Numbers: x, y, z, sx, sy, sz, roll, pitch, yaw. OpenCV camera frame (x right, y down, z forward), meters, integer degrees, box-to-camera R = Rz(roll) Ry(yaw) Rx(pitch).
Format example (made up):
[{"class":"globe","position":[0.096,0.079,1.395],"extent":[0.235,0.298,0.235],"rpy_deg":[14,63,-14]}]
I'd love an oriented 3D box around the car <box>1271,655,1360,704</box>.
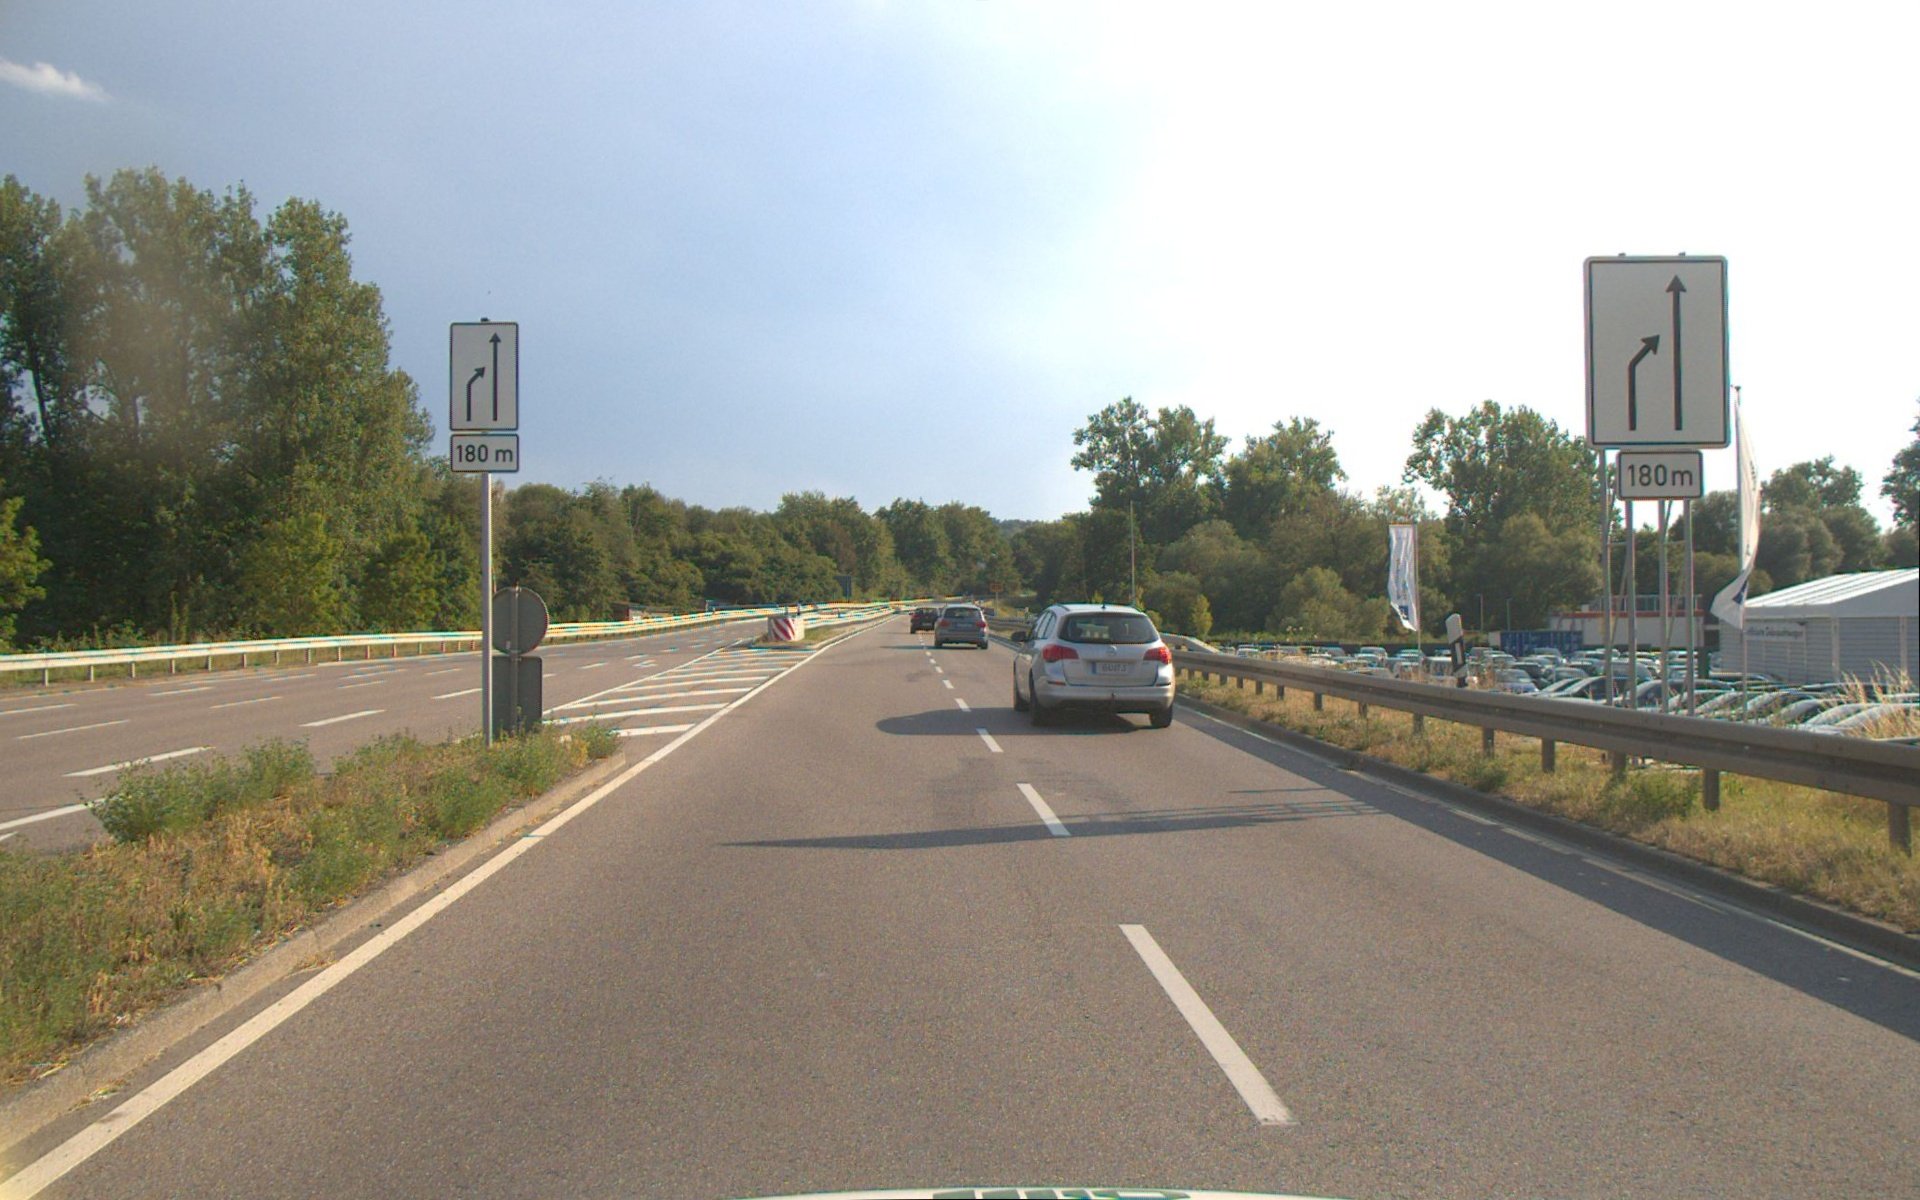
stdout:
[{"class":"car","position":[13.112,2.900,61.213],"extent":[1.843,1.654,4.723],"rpy_deg":[1,-1,-6]}]

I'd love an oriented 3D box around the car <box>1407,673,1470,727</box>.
[{"class":"car","position":[19.413,4.043,67.269],"extent":[1.839,1.965,4.733],"rpy_deg":[1,-1,9]}]

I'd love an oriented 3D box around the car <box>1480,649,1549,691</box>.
[{"class":"car","position":[22.310,2.807,66.729],"extent":[1.839,1.548,4.733],"rpy_deg":[1,-1,9]}]

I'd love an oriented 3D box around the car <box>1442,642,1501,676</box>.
[{"class":"car","position":[26.932,3.101,87.234],"extent":[1.840,1.665,4.730],"rpy_deg":[1,-1,2]}]

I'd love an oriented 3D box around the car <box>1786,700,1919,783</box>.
[{"class":"car","position":[19.676,2.961,34.619],"extent":[3.890,1.570,1.788],"rpy_deg":[1,-1,2]}]

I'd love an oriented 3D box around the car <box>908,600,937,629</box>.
[{"class":"car","position":[-1.978,0.775,87.968],"extent":[1.462,1.502,3.358],"rpy_deg":[1,-1,-1]}]

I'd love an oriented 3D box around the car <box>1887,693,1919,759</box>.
[{"class":"car","position":[26.158,3.224,41.897],"extent":[4.324,1.570,1.802],"rpy_deg":[1,-1,6]}]

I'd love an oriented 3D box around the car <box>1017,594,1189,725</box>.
[{"class":"car","position":[1.749,0.740,21.464],"extent":[1.772,1.512,3.998],"rpy_deg":[1,-1,-1]}]

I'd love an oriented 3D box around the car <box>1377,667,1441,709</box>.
[{"class":"car","position":[19.887,3.869,73.403],"extent":[1.840,1.665,4.731],"rpy_deg":[1,-1,4]}]

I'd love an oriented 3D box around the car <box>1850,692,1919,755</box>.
[{"class":"car","position":[26.490,3.320,44.309],"extent":[4.324,1.570,1.802],"rpy_deg":[1,-1,6]}]

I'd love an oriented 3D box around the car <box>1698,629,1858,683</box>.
[{"class":"car","position":[26.866,1.829,54.445],"extent":[4.331,1.665,1.887],"rpy_deg":[1,-1,6]}]

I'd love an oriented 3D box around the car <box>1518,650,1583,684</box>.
[{"class":"car","position":[30.921,3.499,86.751],"extent":[1.841,1.665,4.730],"rpy_deg":[1,-1,1]}]

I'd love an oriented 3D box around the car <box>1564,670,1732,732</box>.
[{"class":"car","position":[20.595,3.015,49.647],"extent":[4.324,1.696,1.842],"rpy_deg":[1,-1,6]}]

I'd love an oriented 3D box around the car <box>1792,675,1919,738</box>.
[{"class":"car","position":[26.213,3.039,46.859],"extent":[4.324,1.734,1.801],"rpy_deg":[0,-5,6]}]

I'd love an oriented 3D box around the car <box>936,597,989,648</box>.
[{"class":"car","position":[0.060,0.758,54.973],"extent":[1.633,1.601,3.999],"rpy_deg":[2,-1,-1]}]
